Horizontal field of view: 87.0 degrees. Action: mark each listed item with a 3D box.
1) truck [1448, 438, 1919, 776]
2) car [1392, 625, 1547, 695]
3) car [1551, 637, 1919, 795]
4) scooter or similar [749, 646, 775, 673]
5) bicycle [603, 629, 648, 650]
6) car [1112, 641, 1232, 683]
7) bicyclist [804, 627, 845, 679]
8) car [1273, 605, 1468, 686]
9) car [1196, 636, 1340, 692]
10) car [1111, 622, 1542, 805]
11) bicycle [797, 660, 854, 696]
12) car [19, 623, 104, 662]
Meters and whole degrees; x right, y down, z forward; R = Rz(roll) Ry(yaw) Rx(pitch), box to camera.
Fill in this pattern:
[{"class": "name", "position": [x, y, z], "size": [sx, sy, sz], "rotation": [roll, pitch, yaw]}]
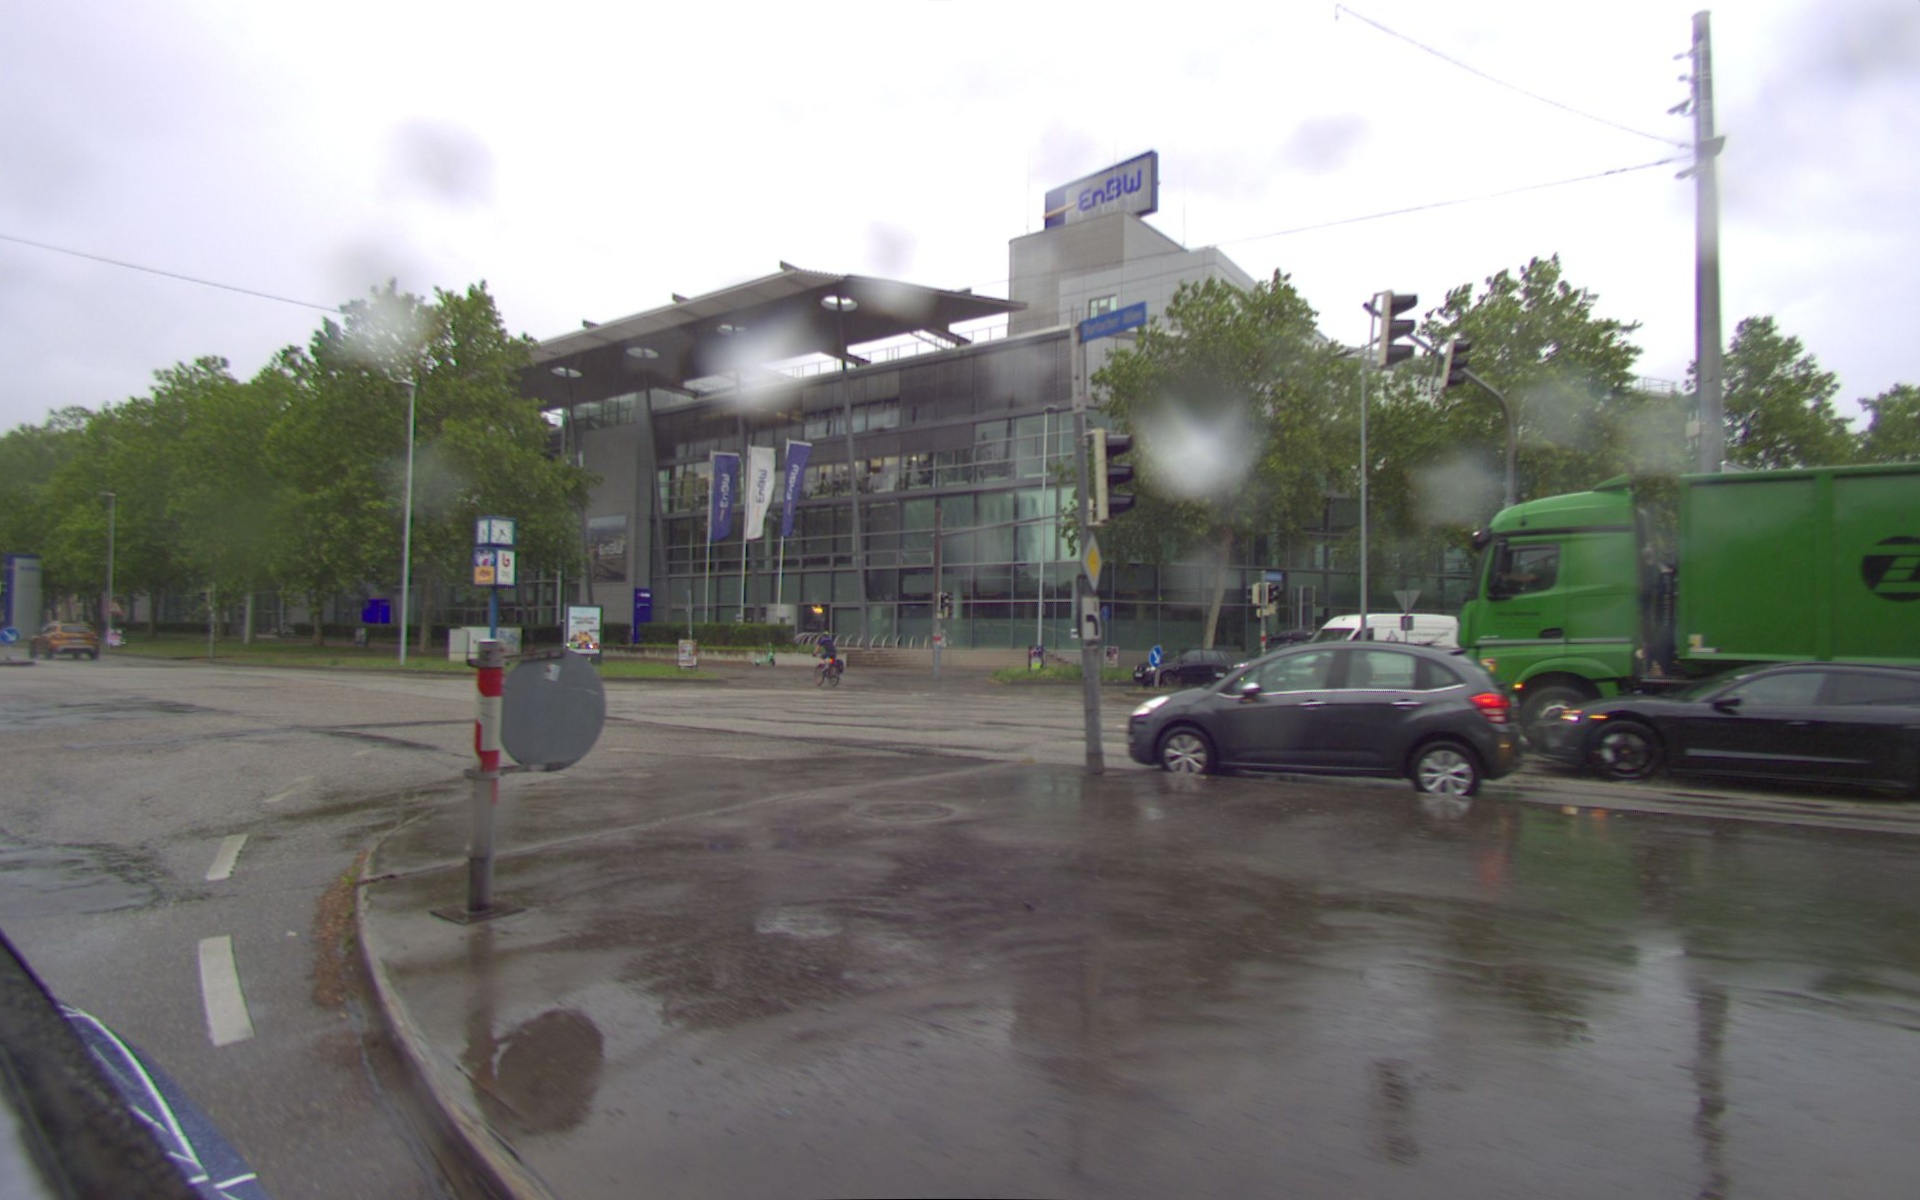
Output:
[{"class": "truck", "position": [12.068, 0.126, 12.976], "size": [10.175, 3.979, 2.655], "rotation": [-1, -3, 36]}, {"class": "car", "position": [18.737, 2.218, 37.236], "size": [5.171, 2.452, 1.976], "rotation": [2, -3, -17]}, {"class": "car", "position": [9.240, 1.198, 11.076], "size": [4.674, 1.497, 1.725], "rotation": [-1, -3, 35]}, {"class": "scooter or similar", "position": [-8.607, 2.580, 43.946], "size": [1.171, 1.147, 0.337], "rotation": [0, -3, 33]}, {"class": "bicycle", "position": [-21.863, 2.598, 66.251], "size": [1.179, 1.342, 3.684], "rotation": [1, -2, 10]}, {"class": "car", "position": [7.734, 2.283, 37.039], "size": [3.931, 1.448, 1.809], "rotation": [2, -3, -20]}, {"class": "bicyclist", "position": [-4.262, 1.665, 31.939], "size": [1.046, 1.606, 0.794], "rotation": [-4, -5, 41]}, {"class": "car", "position": [13.133, 1.489, 32.401], "size": [5.859, 2.452, 1.976], "rotation": [2, -3, -17]}, {"class": "car", "position": [10.423, 2.155, 34.294], "size": [4.253, 1.761, 2.006], "rotation": [2, -3, -19]}, {"class": "car", "position": [3.743, 1.044, 10.530], "size": [3.984, 1.558, 1.643], "rotation": [0, -3, 30]}, {"class": "bicycle", "position": [-4.263, 2.453, 31.902], "size": [1.912, 1.103, 0.685], "rotation": [-3, -5, 41]}, {"class": "car", "position": [-40.071, 1.880, 45.102], "size": [4.160, 1.644, 1.884], "rotation": [-1, -3, 35]}]
